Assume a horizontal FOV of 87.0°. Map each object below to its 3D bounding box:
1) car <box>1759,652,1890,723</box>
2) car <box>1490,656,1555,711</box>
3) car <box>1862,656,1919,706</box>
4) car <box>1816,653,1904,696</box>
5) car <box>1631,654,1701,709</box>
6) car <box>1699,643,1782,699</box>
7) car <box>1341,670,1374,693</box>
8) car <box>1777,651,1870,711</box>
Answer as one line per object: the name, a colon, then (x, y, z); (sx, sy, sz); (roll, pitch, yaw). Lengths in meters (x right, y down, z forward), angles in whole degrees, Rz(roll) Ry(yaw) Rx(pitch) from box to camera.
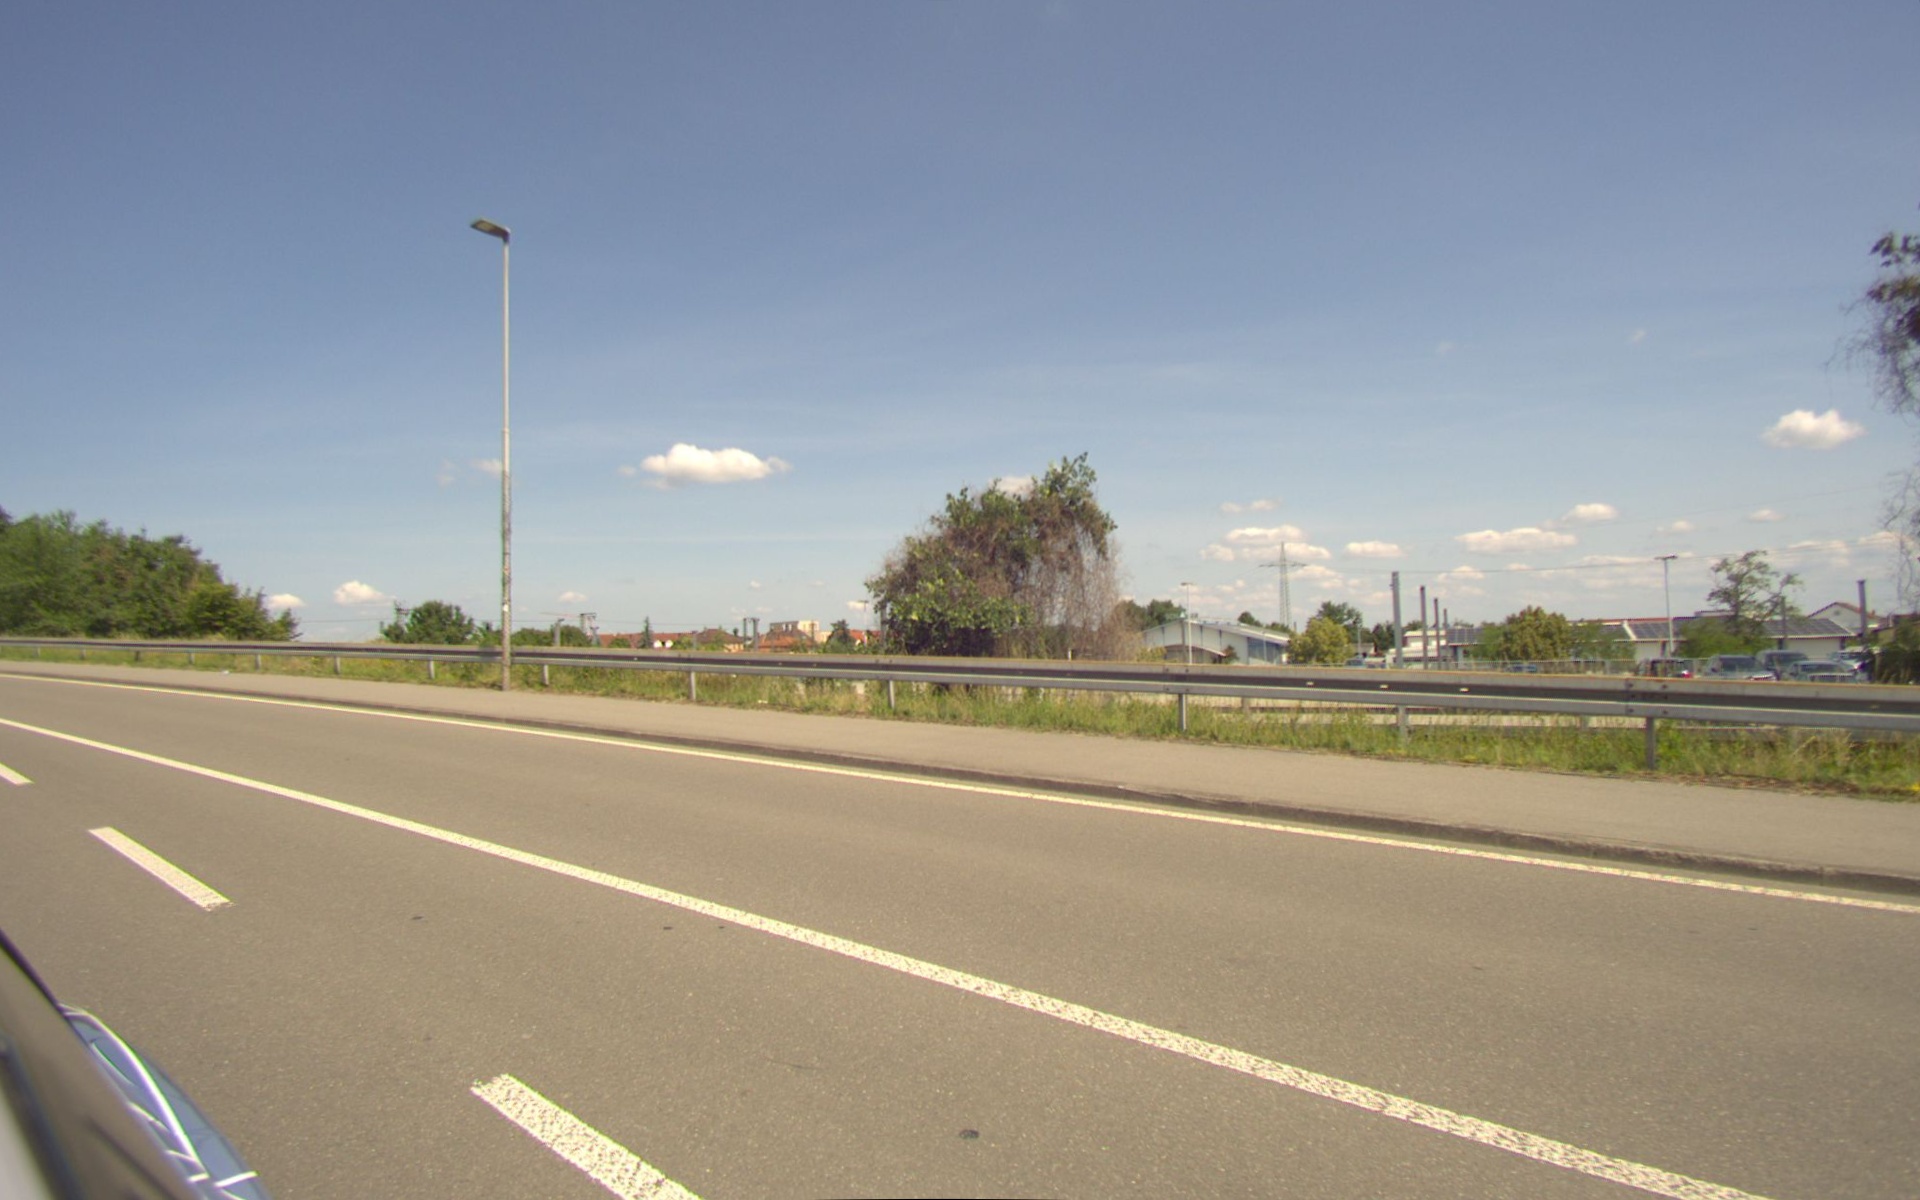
car: (25.948, 2.582, 30.546); (1.950, 1.885, 3.964); (-4, -3, 26)
car: (23.476, 3.442, 42.177); (1.994, 2.029, 3.955); (-5, -4, 33)
car: (34.087, 2.870, 36.205); (1.993, 1.697, 3.956); (-1, -3, 32)
car: (43.559, 3.563, 49.087); (1.987, 1.852, 3.969); (0, -2, 23)
car: (27.800, 3.171, 39.957); (1.993, 2.029, 3.956); (-1, -3, 32)
car: (29.874, 2.712, 38.856); (1.993, 2.029, 3.956); (-4, -5, 32)
car: (29.251, 5.982, 74.439); (1.687, 1.401, 3.774); (-4, -3, 29)
car: (31.868, 2.950, 37.473); (1.993, 2.029, 3.956); (-1, -3, 32)
